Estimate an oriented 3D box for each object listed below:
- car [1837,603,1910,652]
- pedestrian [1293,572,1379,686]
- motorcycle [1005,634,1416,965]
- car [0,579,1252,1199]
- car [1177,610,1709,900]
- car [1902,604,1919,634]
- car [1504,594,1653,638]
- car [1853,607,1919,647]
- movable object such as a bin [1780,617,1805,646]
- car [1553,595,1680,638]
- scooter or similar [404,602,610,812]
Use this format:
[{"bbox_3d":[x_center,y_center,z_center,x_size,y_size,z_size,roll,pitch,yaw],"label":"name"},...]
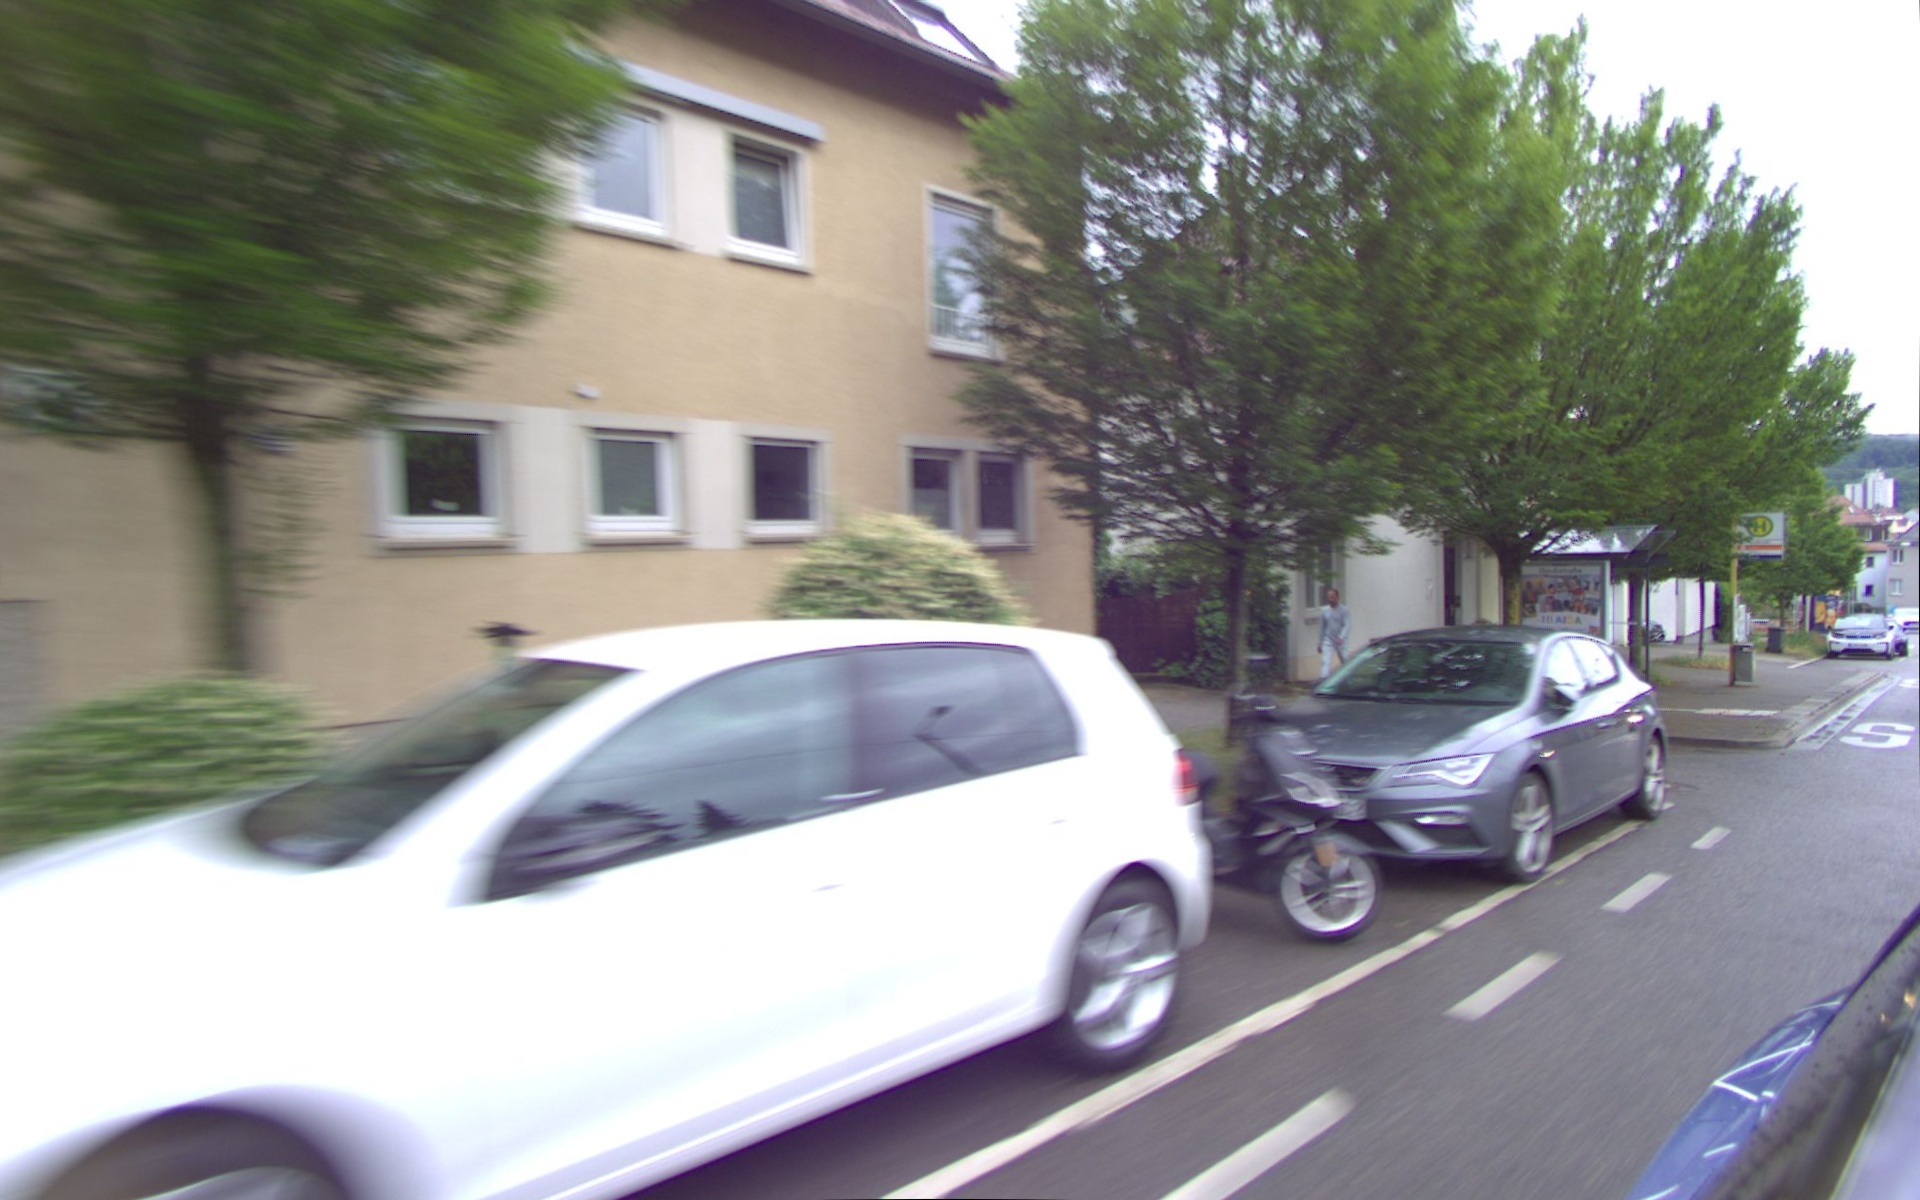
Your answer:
[{"bbox_3d":[32.264,0.941,35.697,1.729,1.628,4.053,-2,-2,44],"label":"car"},{"bbox_3d":[6.020,0.444,16.193,1.027,1.706,0.834,1,2,-43],"label":"pedestrian"},{"bbox_3d":[1.196,0.858,5.174,0.775,1.347,1.913,1,-2,-45],"label":"motorcycle"},{"bbox_3d":[-0.966,0.744,3.071,3.929,1.508,1.660,1,-1,-40],"label":"car"},{"bbox_3d":[3.650,0.803,7.238,4.390,1.434,1.881,1,-1,-42],"label":"car"},{"bbox_3d":[62.838,1.226,65.926,2.009,1.927,4.032,0,0,42],"label":"car"},{"bbox_3d":[22.352,0.552,36.675,1.799,1.499,4.302,1,-1,-43],"label":"car"},{"bbox_3d":[36.103,1.011,39.462,1.778,1.457,4.805,0,-1,43],"label":"car"},{"bbox_3d":[29.493,1.118,35.854,0.593,0.986,0.487,1,4,-38],"label":"movable object such as a bin"},{"bbox_3d":[24.582,0.599,37.964,1.752,1.526,3.704,1,-1,-43],"label":"car"},{"bbox_3d":[-2.959,0.651,6.663,1.154,1.261,0.414,1,0,-41],"label":"scooter or similar"}]
